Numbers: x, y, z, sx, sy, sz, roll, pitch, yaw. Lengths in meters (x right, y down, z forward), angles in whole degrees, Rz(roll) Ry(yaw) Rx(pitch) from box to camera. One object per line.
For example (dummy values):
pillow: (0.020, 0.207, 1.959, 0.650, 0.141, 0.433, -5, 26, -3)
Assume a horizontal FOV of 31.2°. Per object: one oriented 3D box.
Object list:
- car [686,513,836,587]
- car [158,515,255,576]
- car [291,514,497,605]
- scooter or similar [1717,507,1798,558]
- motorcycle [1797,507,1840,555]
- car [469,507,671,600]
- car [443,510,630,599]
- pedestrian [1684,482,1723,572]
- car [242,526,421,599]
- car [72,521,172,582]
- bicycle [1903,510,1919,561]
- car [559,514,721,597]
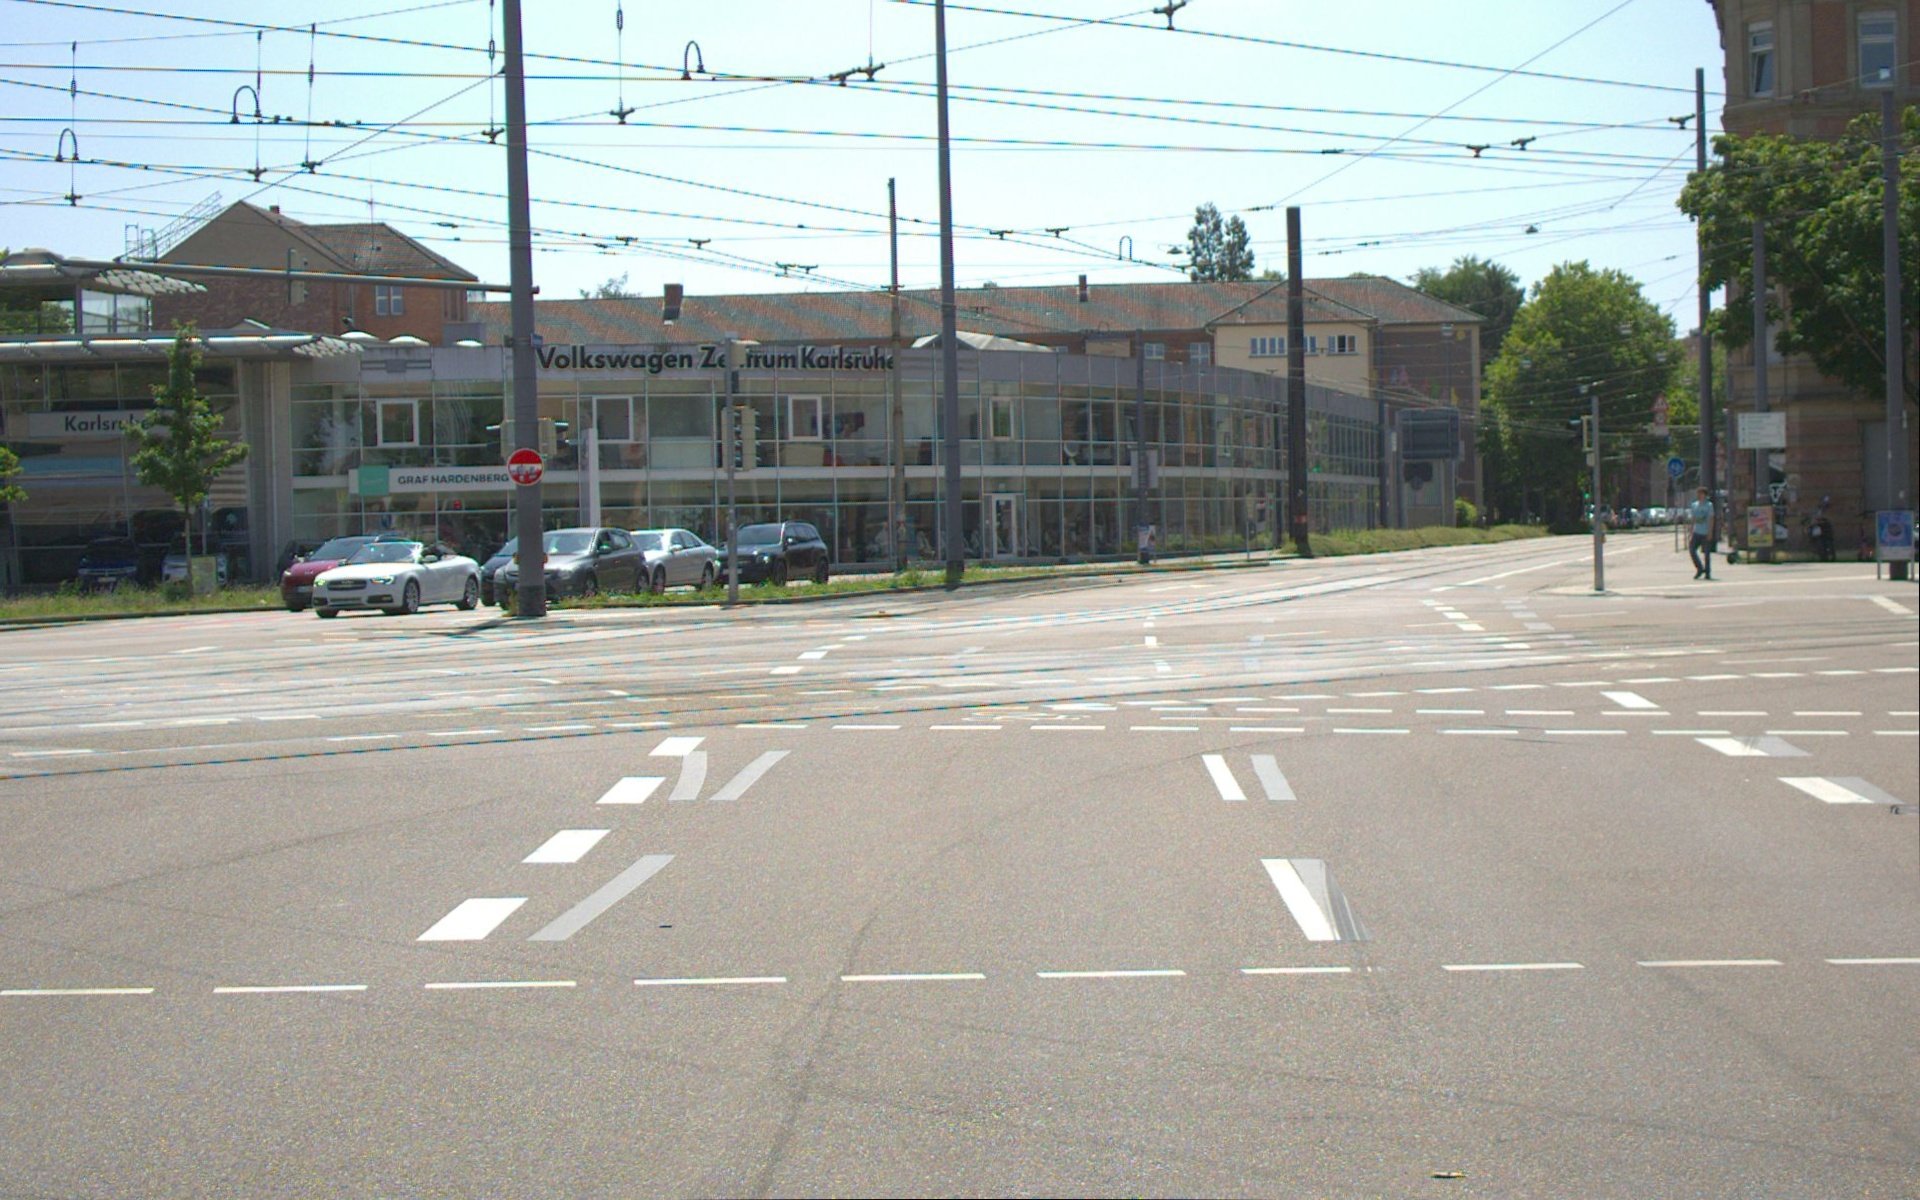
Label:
car: (-4.766, -1.220, 83.109, 2.080, 1.677, 4.842, -1, 1, 17)
car: (-21.897, -1.569, 100.030, 1.920, 1.701, 4.000, 1, 0, 0)
car: (-10.500, -0.782, 64.174, 2.078, 1.574, 4.844, -1, 1, 13)
scooter or similar: (18.934, -1.595, 81.619, 1.786, 1.177, 0.600, -1, 1, -11)
motorcycle: (19.745, -1.597, 79.078, 0.580, 1.071, 1.946, -1, 1, 3)
car: (-7.251, -0.891, 64.483, 1.995, 1.631, 4.842, -1, 1, 17)
car: (-8.602, -0.958, 70.311, 1.995, 1.694, 4.842, -1, 1, 17)
pedestrian: (14.333, -1.408, 66.294, 0.460, 1.702, 0.640, -1, 1, -15)
car: (-13.478, -0.828, 74.034, 1.995, 1.460, 4.844, -1, 1, 13)
car: (-24.354, -1.406, 100.040, 1.920, 1.701, 4.000, 1, 0, 0)
bicycle: (22.033, -1.477, 78.870, 0.442, 1.142, 2.093, 1, 0, 6)
car: (-7.045, -1.010, 76.255, 1.995, 1.733, 4.540, -1, 1, 17)
